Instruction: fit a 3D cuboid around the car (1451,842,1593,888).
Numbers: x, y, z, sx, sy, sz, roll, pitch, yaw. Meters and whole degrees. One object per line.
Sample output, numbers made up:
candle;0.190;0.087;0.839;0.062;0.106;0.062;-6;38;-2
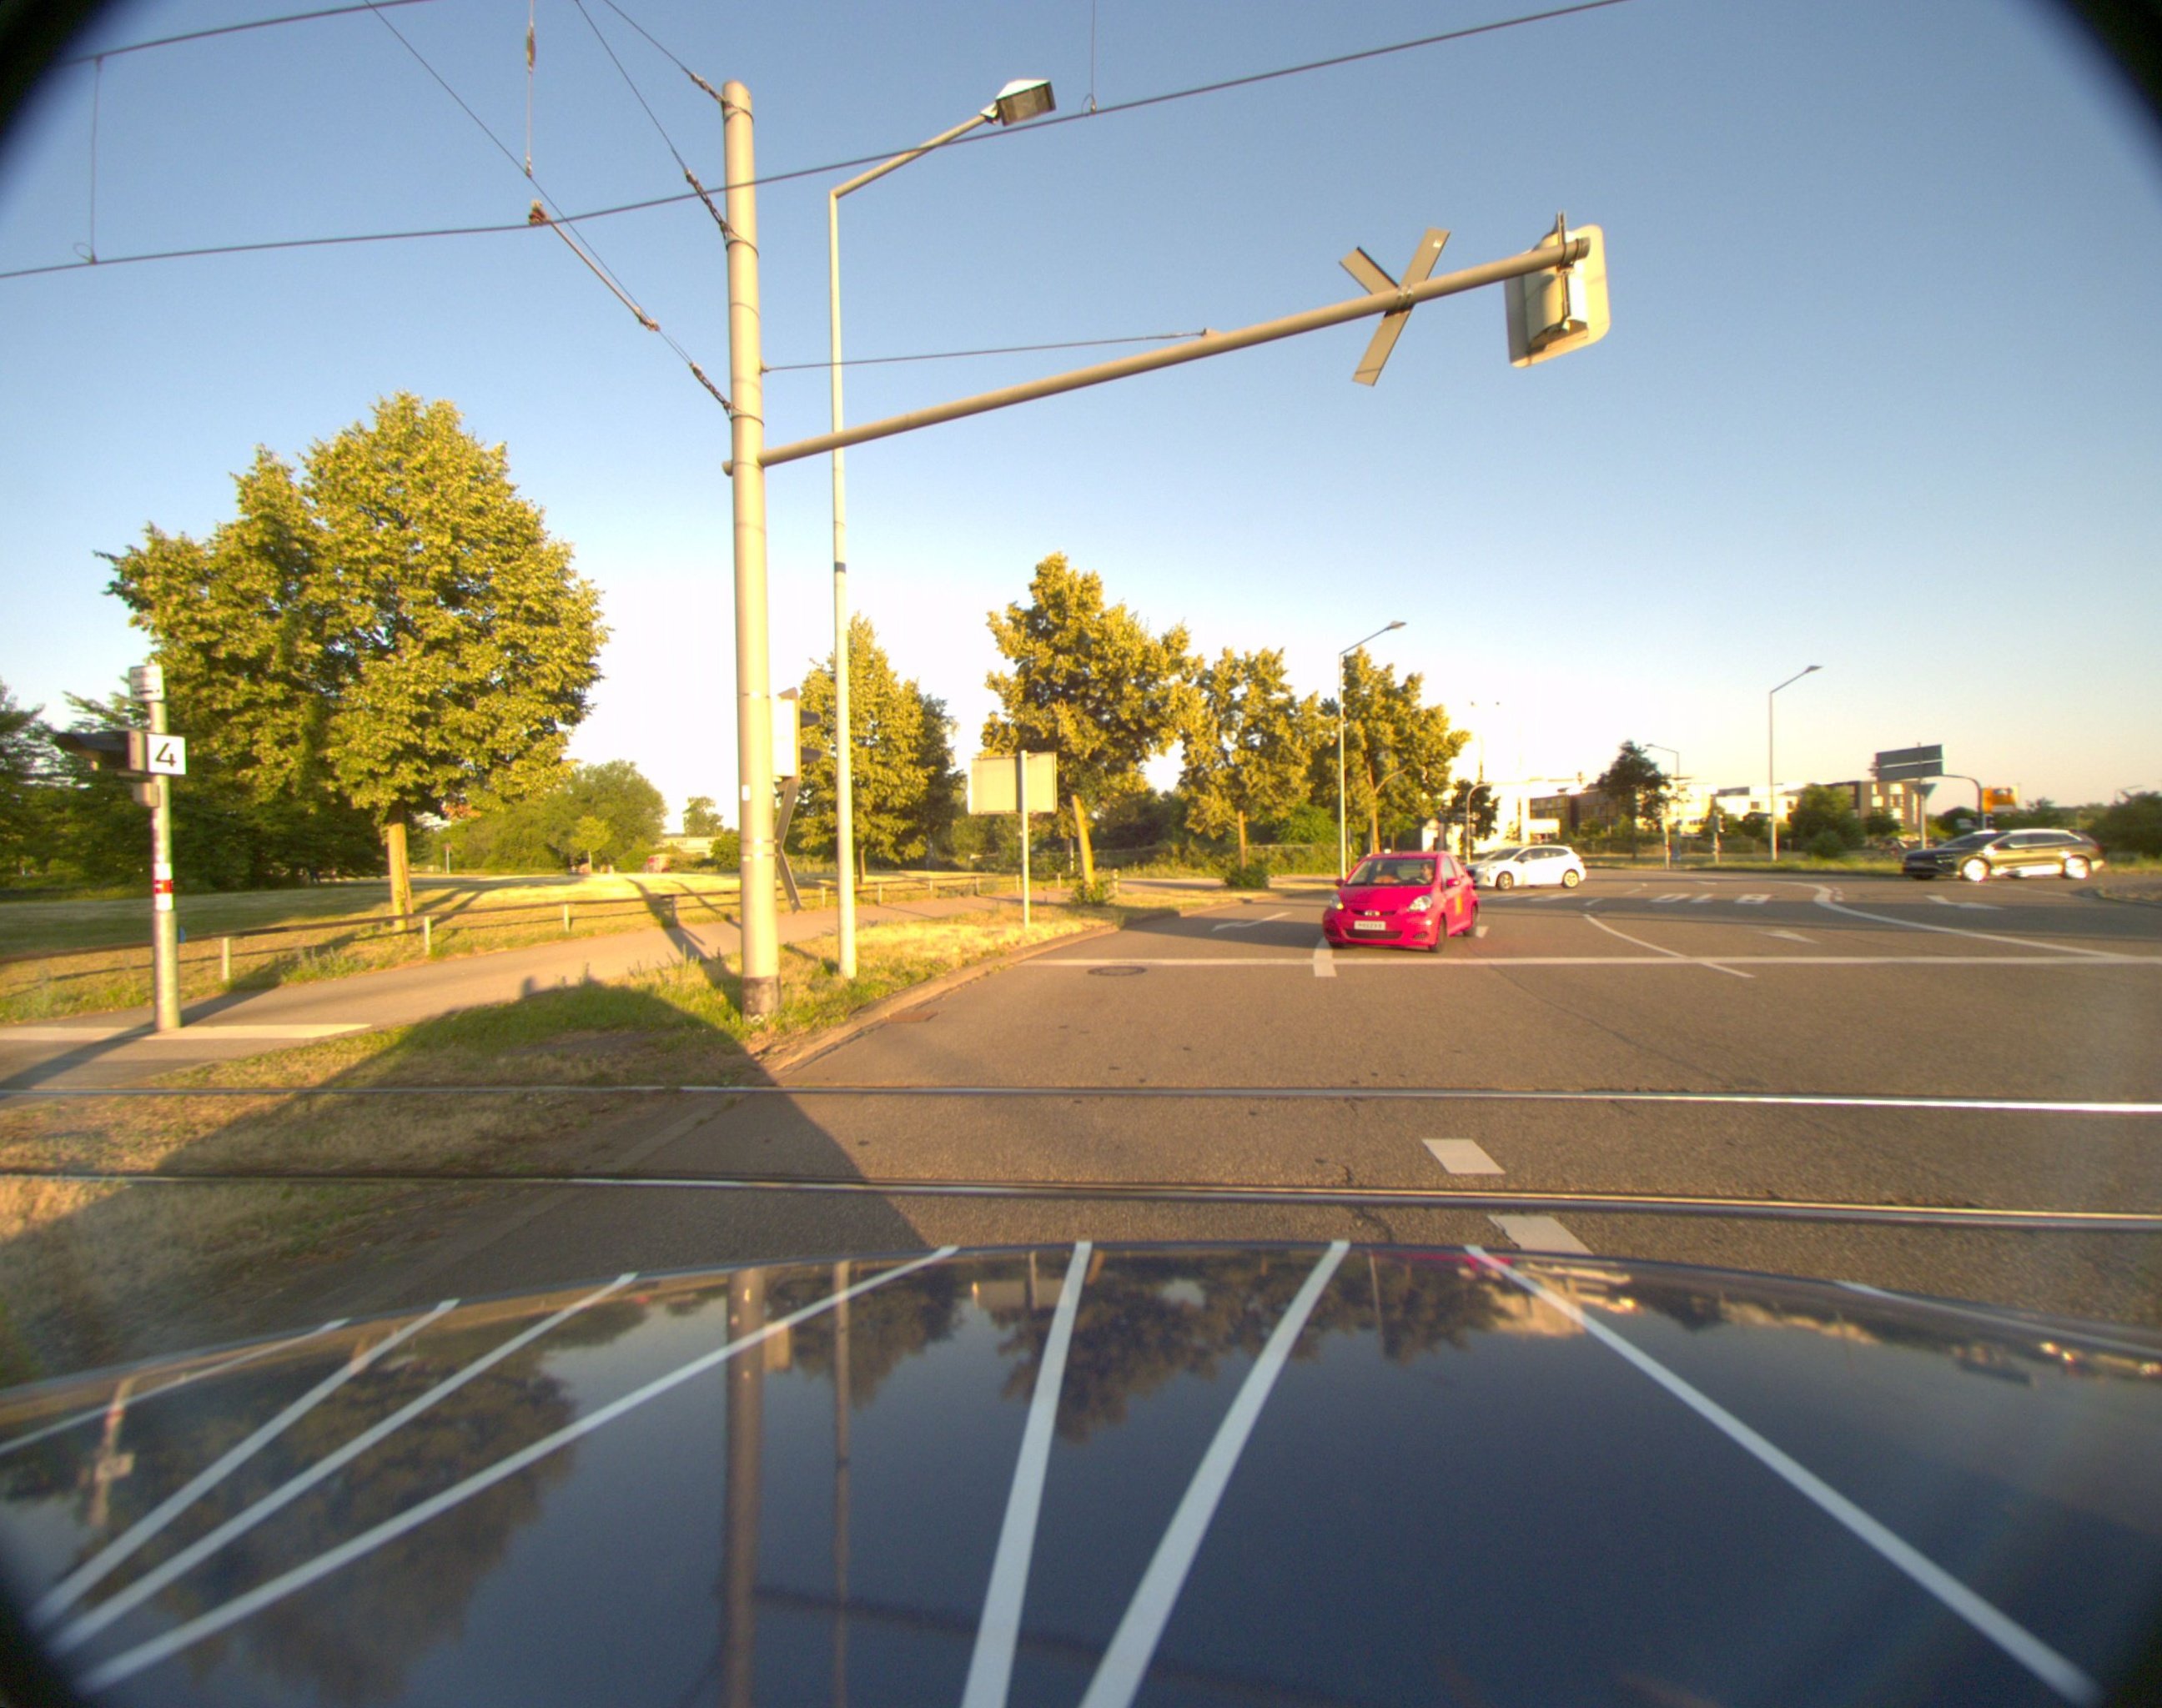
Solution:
car;15.821;0.380;27.348;4.215;1.549;1.759;-1;0;-9

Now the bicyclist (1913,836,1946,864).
bicyclist;50.572;-0.222;45.298;0.999;1.623;0.811;-1;1;17

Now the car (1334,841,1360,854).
car;33.427;-0.831;95.486;1.871;1.616;4.192;-1;1;1

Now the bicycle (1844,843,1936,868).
bicycle;47.092;0.093;44.290;3.530;1.387;1.125;-1;1;24

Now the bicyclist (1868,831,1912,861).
bicyclist;47.124;-0.463;44.262;1.413;1.739;1.125;-1;1;24

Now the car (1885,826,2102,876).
car;29.725;-0.076;24.940;4.205;1.549;1.831;-1;0;20

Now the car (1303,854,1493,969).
car;5.202;0.772;12.131;1.690;1.413;4.219;-2;0;38
